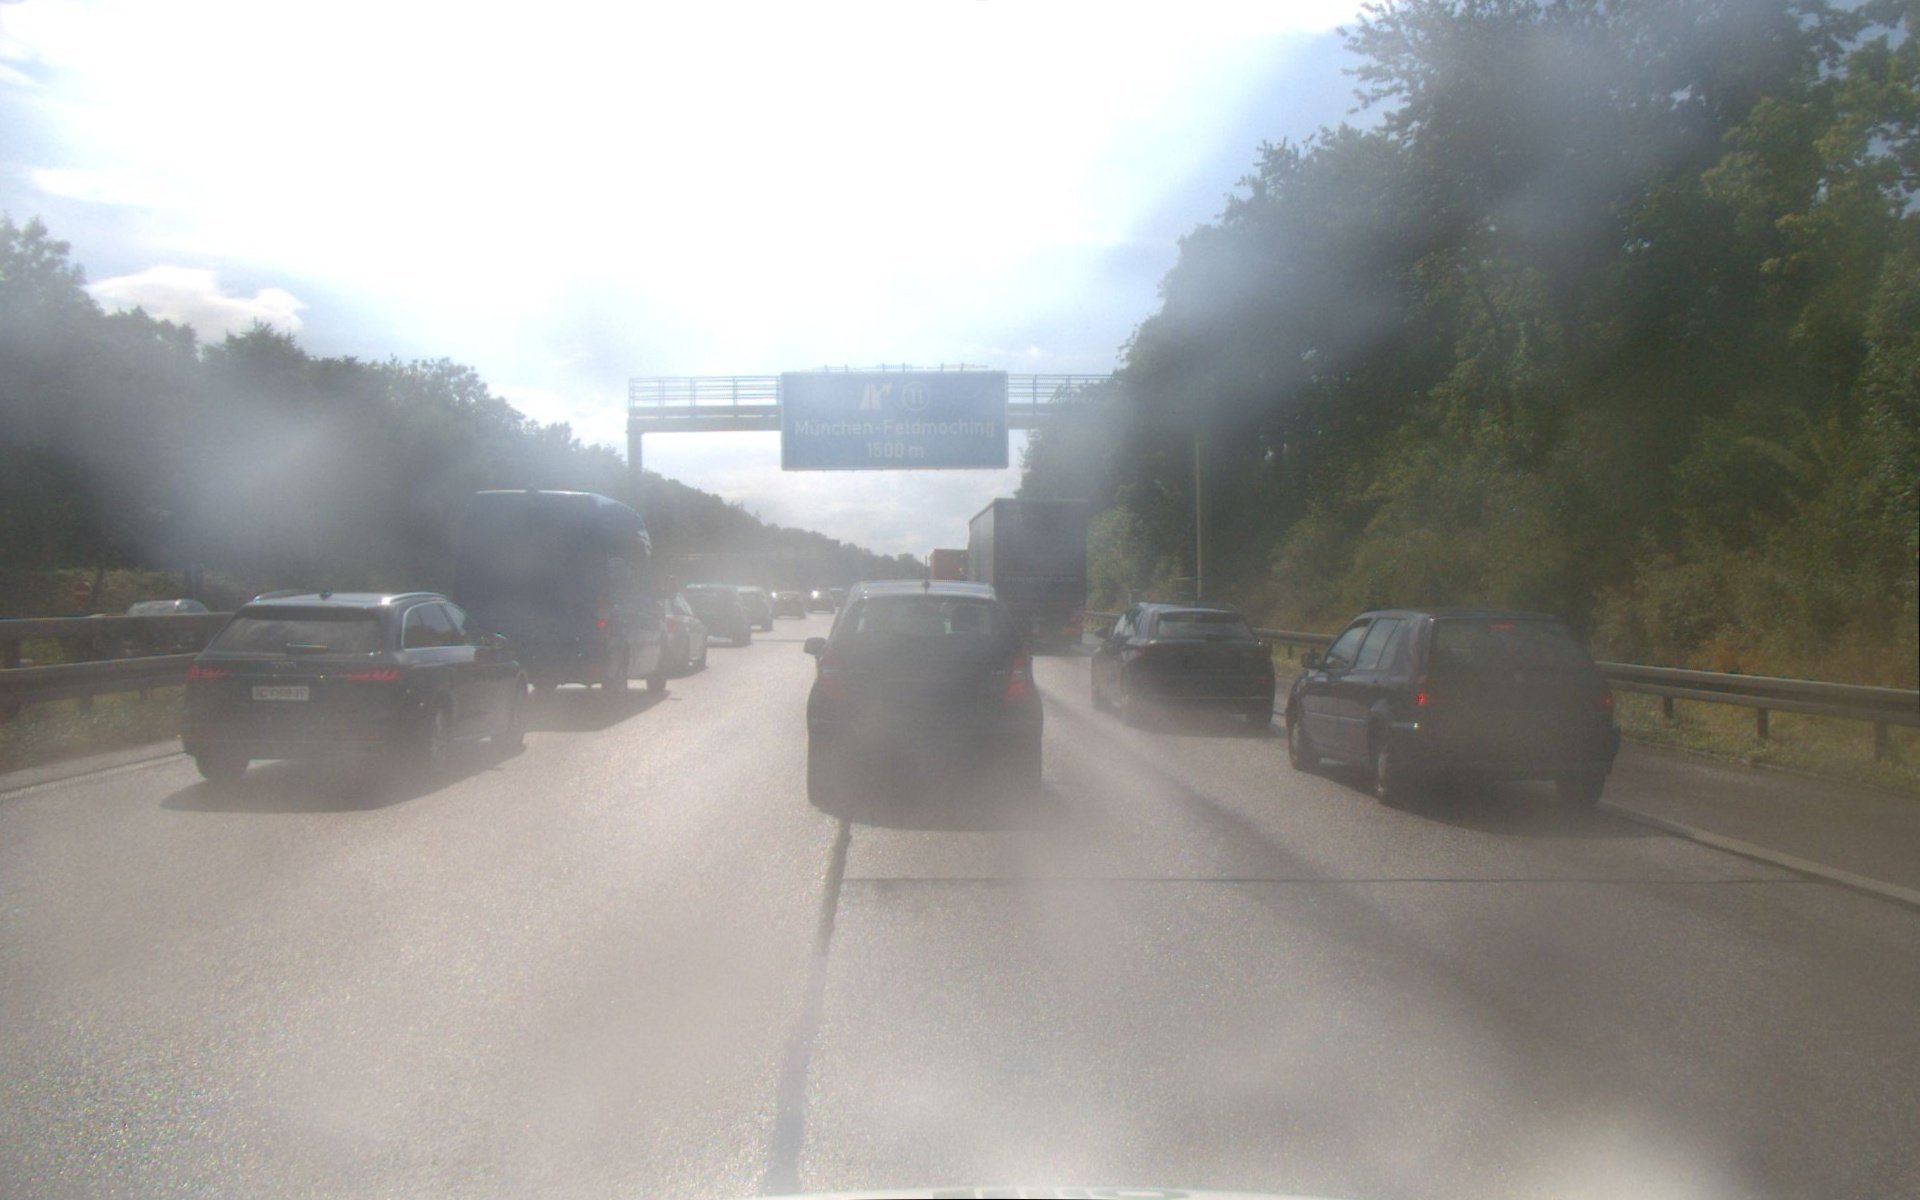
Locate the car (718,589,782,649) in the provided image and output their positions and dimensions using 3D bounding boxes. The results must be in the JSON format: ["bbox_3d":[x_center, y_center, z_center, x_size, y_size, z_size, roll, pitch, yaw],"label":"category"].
[{"bbox_3d":[-7.822,0.700,62.019,1.953,2.152,4.886,1,0,-2],"label":"car"}]

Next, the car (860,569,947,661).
[{"bbox_3d":[-1.254,0.305,35.188,1.659,1.836,3.972,1,0,-5],"label":"car"}]

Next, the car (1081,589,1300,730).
[{"bbox_3d":[2.708,0.671,20.343,1.828,1.542,3.972,1,0,-5],"label":"car"}]

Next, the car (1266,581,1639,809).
[{"bbox_3d":[3.744,0.659,13.291,1.559,1.542,3.972,1,0,-4],"label":"car"}]

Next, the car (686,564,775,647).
[{"bbox_3d":[-6.341,0.148,46.182,1.953,2.152,4.886,1,0,-2],"label":"car"}]

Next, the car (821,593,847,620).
[{"bbox_3d":[-10.294,0.520,135.572,1.953,2.152,4.886,1,0,-2],"label":"car"}]

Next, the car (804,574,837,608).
[{"bbox_3d":[-9.356,-0.588,110.946,1.953,2.152,4.886,1,0,-2],"label":"car"}]

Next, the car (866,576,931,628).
[{"bbox_3d":[-1.987,0.065,52.332,1.828,1.542,3.972,1,0,-5],"label":"car"}]

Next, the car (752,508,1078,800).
[{"bbox_3d":[-0.474,0.386,13.841,2.229,1.989,4.817,1,0,-4],"label":"car"}]

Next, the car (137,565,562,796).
[{"bbox_3d":[-4.838,0.571,13.949,1.953,1.592,4.754,1,0,-2],"label":"car"}]

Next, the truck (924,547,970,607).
[{"bbox_3d":[-0.866,-1.423,106.527,2.719,3.695,5.914,1,0,-2],"label":"truck"}]

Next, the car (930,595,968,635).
[{"bbox_3d":[-0.660,0.820,92.716,1.953,2.152,4.886,1,0,-2],"label":"car"}]

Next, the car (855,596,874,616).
[{"bbox_3d":[-10.424,0.628,180.175,1.953,2.152,4.886,1,0,-2],"label":"car"}]

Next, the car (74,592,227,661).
[{"bbox_3d":[-22.964,0.722,47.169,2.011,1.806,5.205,1,0,-3],"label":"car"}]

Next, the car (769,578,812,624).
[{"bbox_3d":[-9.199,0.059,89.961,1.953,2.427,5.257,1,0,-2],"label":"car"}]

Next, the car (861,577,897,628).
[{"bbox_3d":[-4.587,0.141,93.863,1.953,2.794,5.257,1,0,-2],"label":"car"}]

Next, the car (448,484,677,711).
[{"bbox_3d":[-5.152,-0.019,22.217,1.953,2.661,5.257,1,0,-2],"label":"car"}]

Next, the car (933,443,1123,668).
[{"bbox_3d":[1.682,-1.156,52.605,4.316,5.932,16.806,1,0,-3],"label":"car"}]

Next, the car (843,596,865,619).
[{"bbox_3d":[-10.160,0.706,159.381,1.953,2.152,4.886,1,0,-2],"label":"car"}]
